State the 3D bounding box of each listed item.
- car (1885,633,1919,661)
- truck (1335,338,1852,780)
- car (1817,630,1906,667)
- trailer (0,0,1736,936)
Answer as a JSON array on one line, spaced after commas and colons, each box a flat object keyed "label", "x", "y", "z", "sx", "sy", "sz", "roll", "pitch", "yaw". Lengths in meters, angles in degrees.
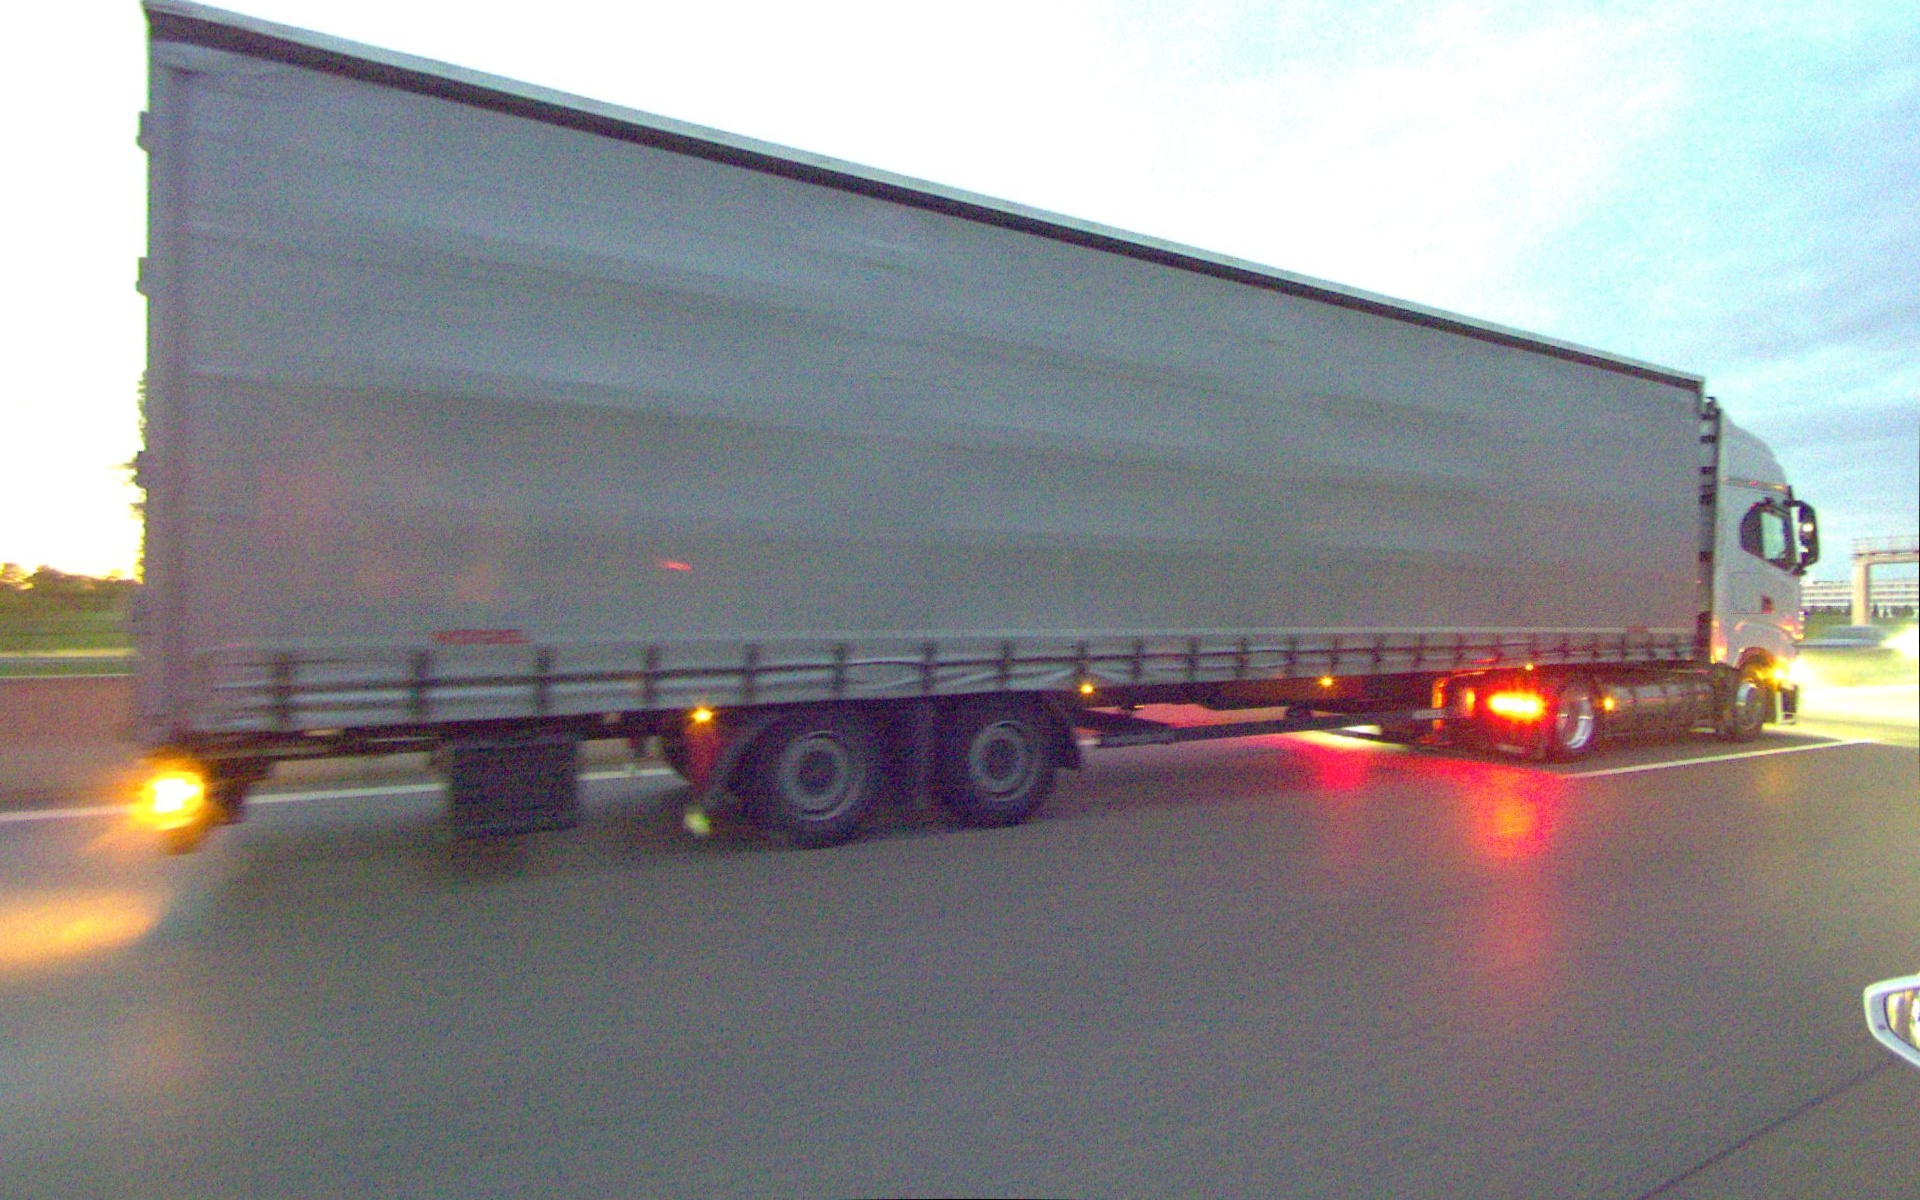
[{"label": "car", "x": 46.538, "y": 2.295, "z": 48.817, "sx": 3.466, "sy": 1.278, "sz": 1.357, "roll": 2, "pitch": 0, "yaw": -30}, {"label": "truck", "x": 7.723, "y": -0.277, "z": 12.122, "sx": 6.029, "sy": 4.146, "sz": 2.765, "roll": 2, "pitch": -2, "yaw": -29}, {"label": "car", "x": 33.162, "y": 1.786, "z": 36.919, "sx": 3.466, "sy": 1.249, "sz": 1.441, "roll": 2, "pitch": 0, "yaw": -30}, {"label": "trailer", "x": 1.524, "y": -0.506, "z": 8.596, "sx": 14.351, "sy": 4.139, "sz": 2.782, "roll": 2, "pitch": -2, "yaw": -30}]
